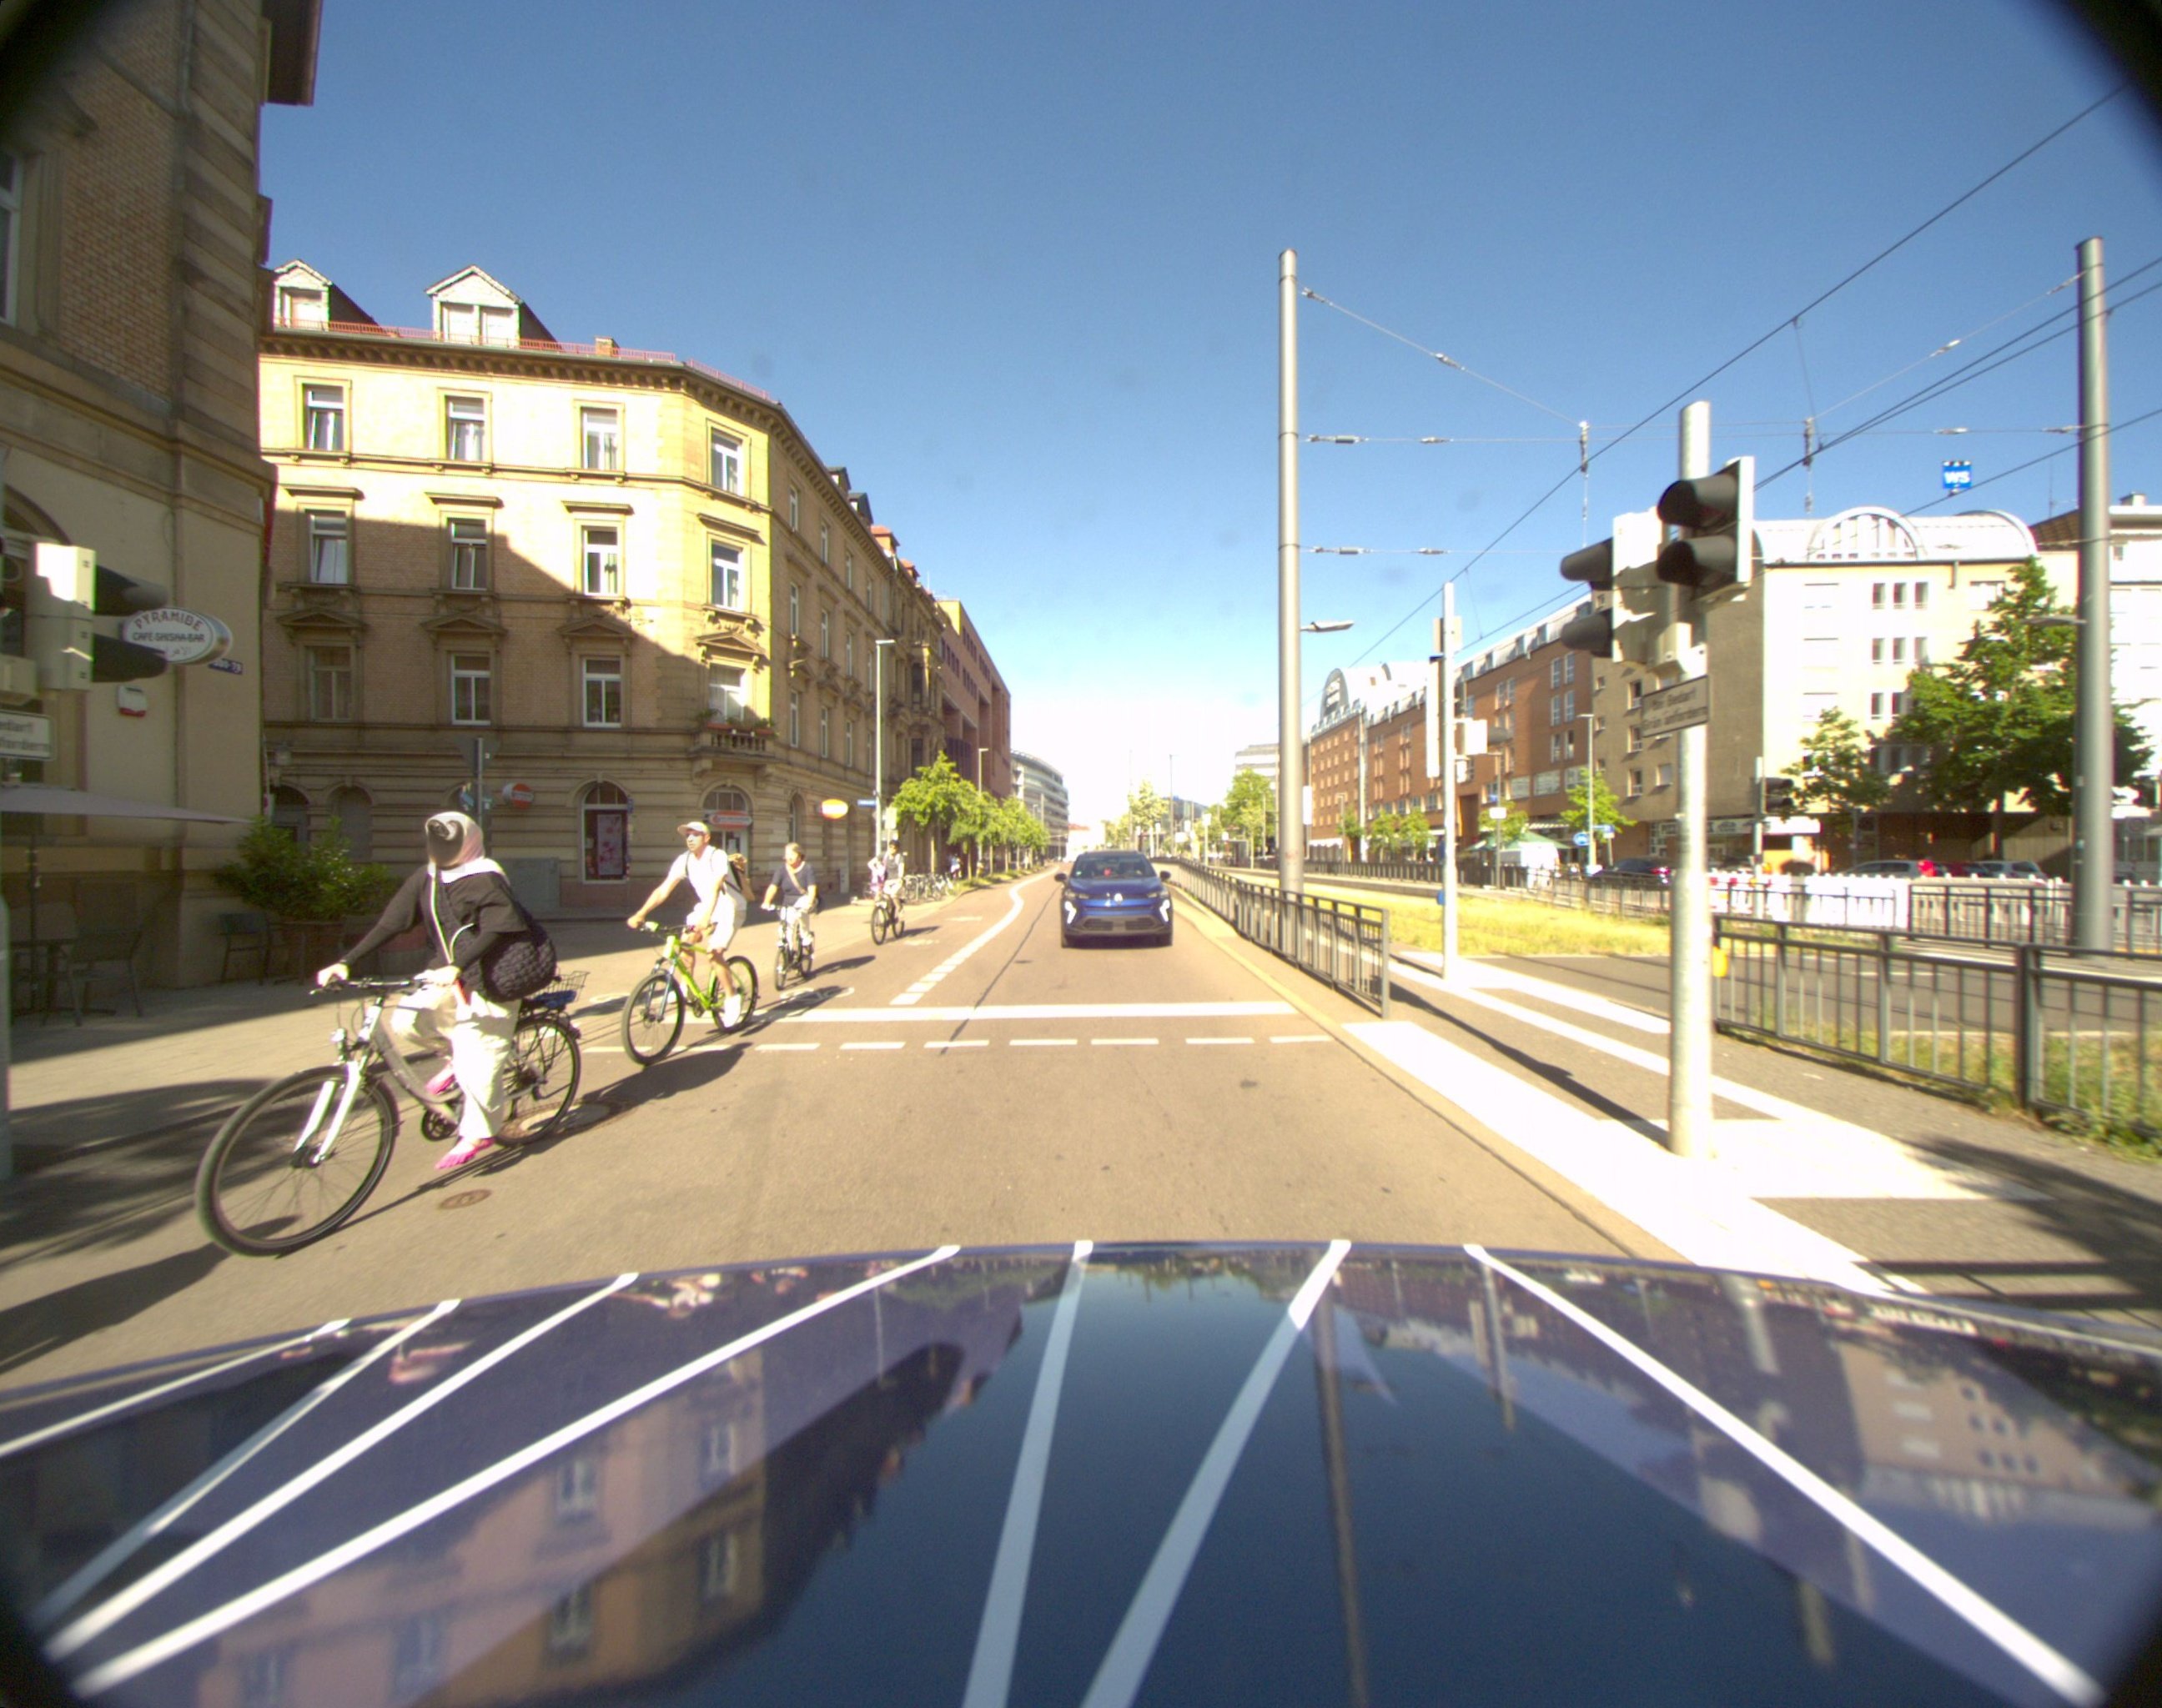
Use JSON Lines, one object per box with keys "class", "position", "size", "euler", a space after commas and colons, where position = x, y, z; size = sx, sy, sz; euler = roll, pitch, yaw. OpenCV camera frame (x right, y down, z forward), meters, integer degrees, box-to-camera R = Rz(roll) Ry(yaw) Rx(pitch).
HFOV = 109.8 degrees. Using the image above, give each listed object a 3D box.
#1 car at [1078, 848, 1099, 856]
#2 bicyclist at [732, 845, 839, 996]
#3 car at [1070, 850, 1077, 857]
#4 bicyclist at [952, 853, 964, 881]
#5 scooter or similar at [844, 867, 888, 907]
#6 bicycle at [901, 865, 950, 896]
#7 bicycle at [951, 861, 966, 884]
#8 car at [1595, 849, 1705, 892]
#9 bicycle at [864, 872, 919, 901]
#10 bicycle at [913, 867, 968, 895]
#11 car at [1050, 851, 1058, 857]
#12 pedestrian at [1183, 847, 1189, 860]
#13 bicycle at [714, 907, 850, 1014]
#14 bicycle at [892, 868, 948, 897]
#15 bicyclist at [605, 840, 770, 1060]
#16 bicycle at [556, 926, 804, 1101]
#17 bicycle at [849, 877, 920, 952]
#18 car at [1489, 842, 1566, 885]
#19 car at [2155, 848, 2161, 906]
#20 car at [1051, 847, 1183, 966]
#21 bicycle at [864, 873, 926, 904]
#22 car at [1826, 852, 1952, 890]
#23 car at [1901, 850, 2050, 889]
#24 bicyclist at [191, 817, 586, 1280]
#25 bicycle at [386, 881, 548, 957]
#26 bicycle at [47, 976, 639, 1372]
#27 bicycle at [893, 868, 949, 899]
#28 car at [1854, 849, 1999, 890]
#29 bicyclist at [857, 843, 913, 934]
{"class": "car", "position": [1.512, -0.391, 158.136], "size": [4.416, 1.546, 1.759], "euler": [0, 1, 1]}
{"class": "bicyclist", "position": [-3.572, 0.766, 9.276], "size": [0.854, 1.717, 0.989], "euler": [-2, 1, 1]}
{"class": "car", "position": [-1.856, -0.124, 186.293], "size": [1.745, 1.543, 4.000], "euler": [0, 0, 1]}
{"class": "bicyclist", "position": [-7.143, 0.768, 44.304], "size": [0.579, 1.608, 0.794], "euler": [0, 1, -2]}
{"class": "scooter or similar", "position": [-6.670, 1.022, 23.597], "size": [1.199, 1.191, 0.487], "euler": [0, 1, -4]}
{"class": "bicycle", "position": [-6.126, 1.036, 29.982], "size": [1.678, 1.056, 1.134], "euler": [3, 1, -1]}
{"class": "bicycle", "position": [-7.151, 1.070, 44.400], "size": [0.579, 1.246, 2.097], "euler": [0, 1, -2]}
{"class": "car", "position": [24.405, 0.667, 32.786], "size": [1.699, 1.630, 3.999], "euler": [-2, 1, -1]}
{"class": "bicycle", "position": [-6.400, 1.096, 25.745], "size": [1.717, 0.920, 0.497], "euler": [0, 1, 1]}
{"class": "bicycle", "position": [-5.796, 1.096, 31.384], "size": [2.062, 1.036, 0.847], "euler": [2, 1, 0]}
{"class": "car", "position": [-6.701, 0.002, 186.922], "size": [1.745, 1.543, 4.000], "euler": [0, 0, 0]}
{"class": "pedestrian", "position": [15.101, -0.019, 109.215], "size": [0.821, 1.878, 0.769], "euler": [0, 1, 5]}
{"class": "bicycle", "position": [-3.559, 1.228, 9.276], "size": [0.830, 1.000, 1.952], "euler": [-2, 0, 1]}
{"class": "bicycle", "position": [-6.087, 1.069, 28.837], "size": [1.903, 1.024, 1.030], "euler": [2, 1, -2]}
{"class": "bicyclist", "position": [-3.163, 0.726, 6.205], "size": [0.700, 1.647, 0.978], "euler": [-2, 1, 9]}
{"class": "bicycle", "position": [-3.143, 1.197, 6.231], "size": [0.724, 1.000, 1.953], "euler": [-2, 0, 9]}
{"class": "bicycle", "position": [-3.547, 1.066, 13.892], "size": [0.725, 1.187, 1.952], "euler": [-2, 0, 1]}
{"class": "car", "position": [25.543, 0.469, 43.680], "size": [1.997, 2.283, 5.191], "euler": [-1, 1, 9]}
{"class": "car", "position": [31.457, 0.665, 19.562], "size": [1.868, 1.630, 3.998], "euler": [-2, 1, -3]}
{"class": "car", "position": [0.540, 0.730, 12.846], "size": [1.758, 1.576, 4.420], "euler": [-3, 0, 1]}
{"class": "bicycle", "position": [-6.152, 1.139, 25.112], "size": [1.905, 0.906, 0.592], "euler": [2, 2, 9]}
{"class": "car", "position": [33.612, 0.662, 31.737], "size": [1.438, 1.420, 3.345], "euler": [-2, 1, -12]}
{"class": "car", "position": [38.353, 0.632, 32.742], "size": [1.715, 1.477, 3.999], "euler": [-2, 1, 0]}
{"class": "bicyclist", "position": [-3.069, 0.767, 3.521], "size": [0.725, 1.807, 1.091], "euler": [-2, 1, 4]}
{"class": "bicycle", "position": [-10.509, 1.093, 13.044], "size": [2.216, 1.224, 0.818], "euler": [0, -2, 7]}
{"class": "bicycle", "position": [-3.055, 1.237, 3.529], "size": [0.725, 1.000, 1.953], "euler": [-2, 0, 4]}
{"class": "bicycle", "position": [-5.755, 1.063, 27.322], "size": [1.876, 1.043, 0.608], "euler": [2, 1, -4]}
{"class": "car", "position": [35.782, 0.617, 32.321], "size": [1.473, 1.543, 3.964], "euler": [-2, 1, -8]}
{"class": "bicyclist", "position": [-3.562, 0.613, 13.885], "size": [0.725, 1.595, 0.895], "euler": [-2, 1, 1]}
